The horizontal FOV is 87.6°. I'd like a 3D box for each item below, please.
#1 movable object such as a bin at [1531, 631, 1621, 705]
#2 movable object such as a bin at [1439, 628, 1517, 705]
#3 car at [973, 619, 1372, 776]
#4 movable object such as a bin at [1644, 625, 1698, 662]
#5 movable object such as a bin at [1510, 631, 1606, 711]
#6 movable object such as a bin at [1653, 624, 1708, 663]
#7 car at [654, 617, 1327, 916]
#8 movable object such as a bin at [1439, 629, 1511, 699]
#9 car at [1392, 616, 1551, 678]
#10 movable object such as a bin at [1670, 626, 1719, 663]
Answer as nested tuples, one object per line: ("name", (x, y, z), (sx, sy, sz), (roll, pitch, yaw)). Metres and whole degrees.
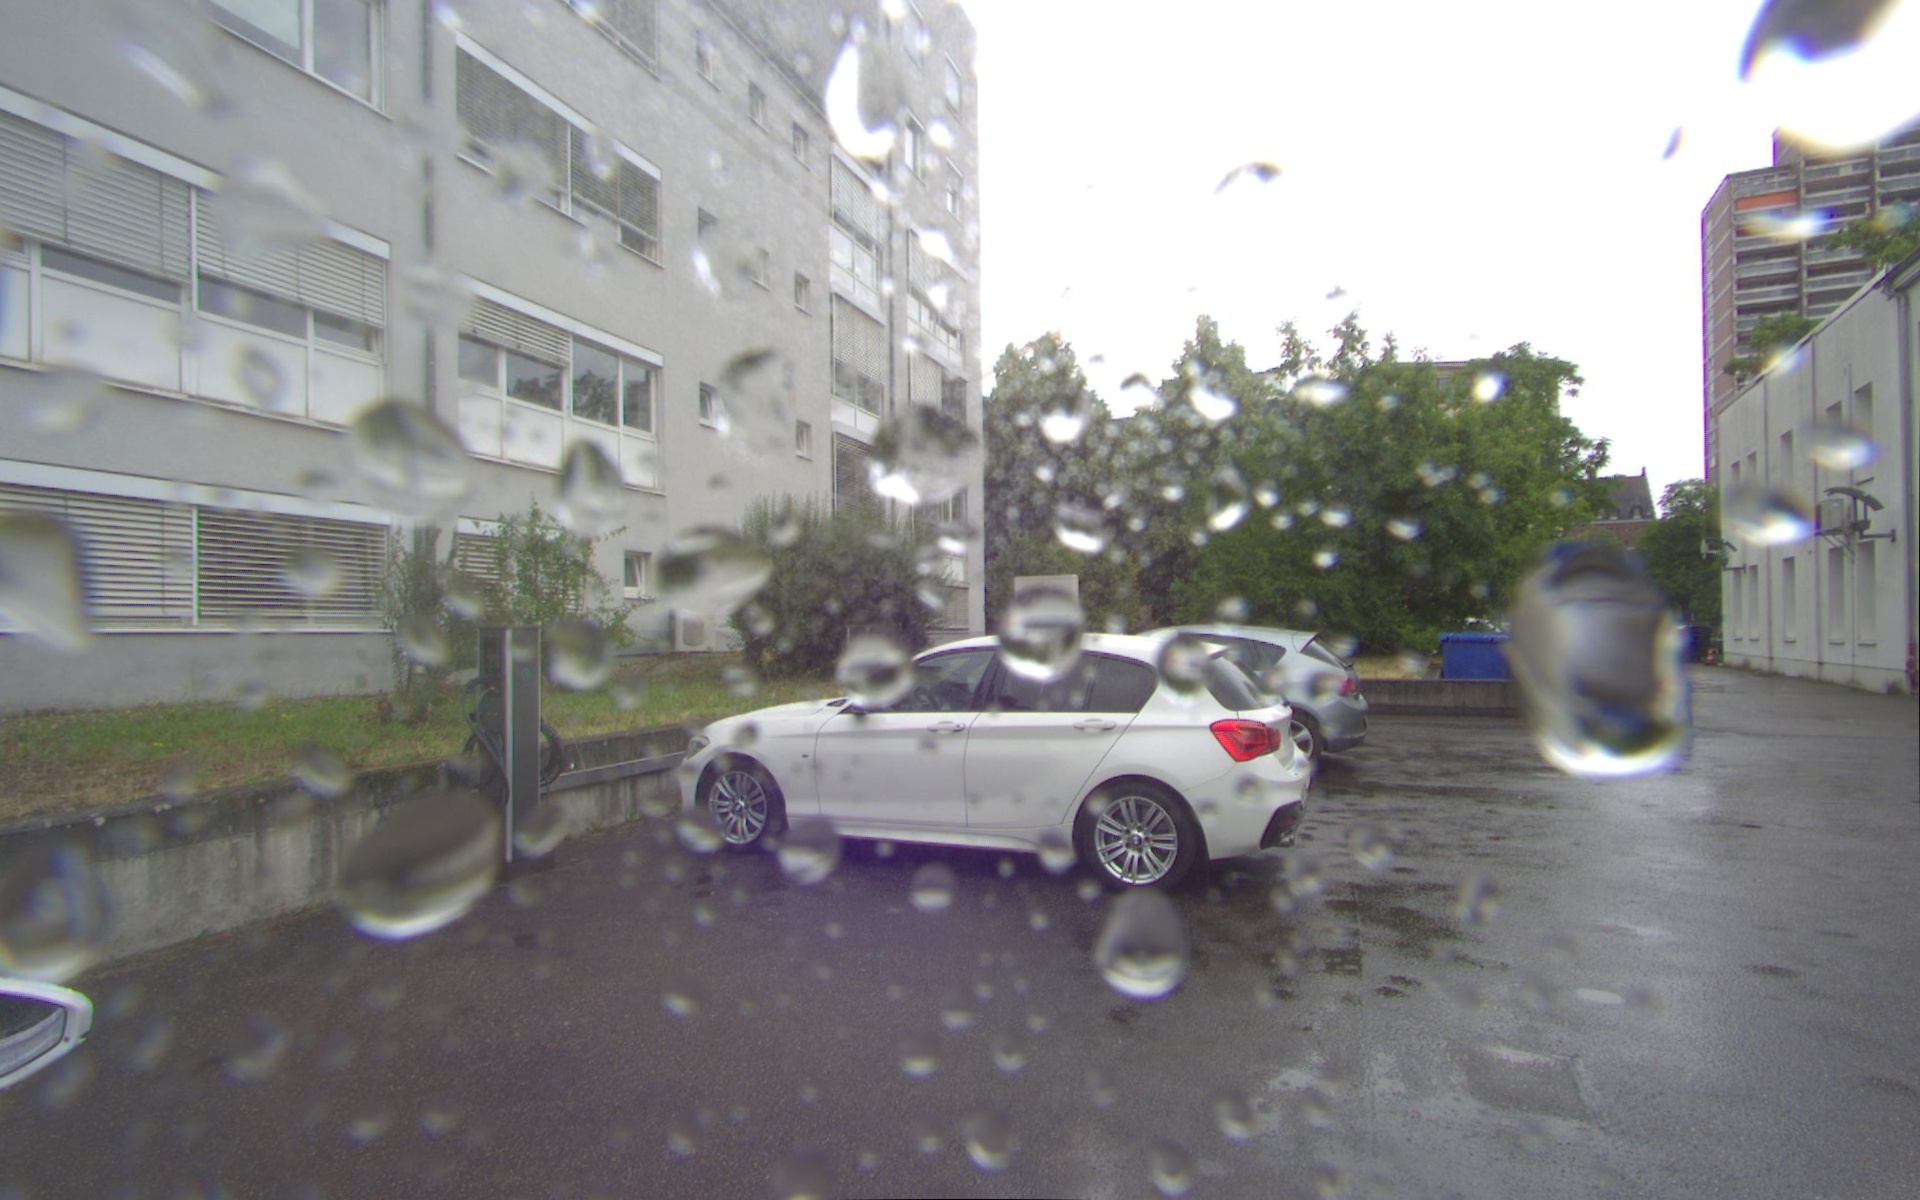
("movable object such as a bin", (12.161, 1.351, 19.863), (1.293, 1.374, 1.900), (-2, -4, 26))
("movable object such as a bin", (9.756, 1.265, 18.942), (1.214, 1.374, 1.965), (-2, -4, 26))
("car", (2.433, 1.024, 11.388), (4.151, 1.508, 1.996), (-1, -2, 23))
("movable object such as a bin", (29.305, 1.812, 41.311), (1.467, 1.466, 1.312), (-2, -4, 22))
("movable object such as a bin", (10.895, 1.299, 18.345), (1.293, 1.374, 1.900), (-2, -4, 26))
("movable object such as a bin", (28.799, 1.758, 40.063), (1.467, 1.466, 1.312), (-2, -4, 22))
("car", (0.237, 0.927, 6.813), (4.151, 1.508, 1.996), (-1, -2, 23))
("movable object such as a bin", (10.631, 1.338, 20.731), (1.214, 1.374, 1.965), (-2, -4, 26))
("car", (17.264, 1.662, 33.937), (4.628, 1.904, 2.116), (-3, -5, 29))
("movable object such as a bin", (28.260, 1.727, 38.556), (1.168, 1.390, 1.312), (-2, -4, 22))
